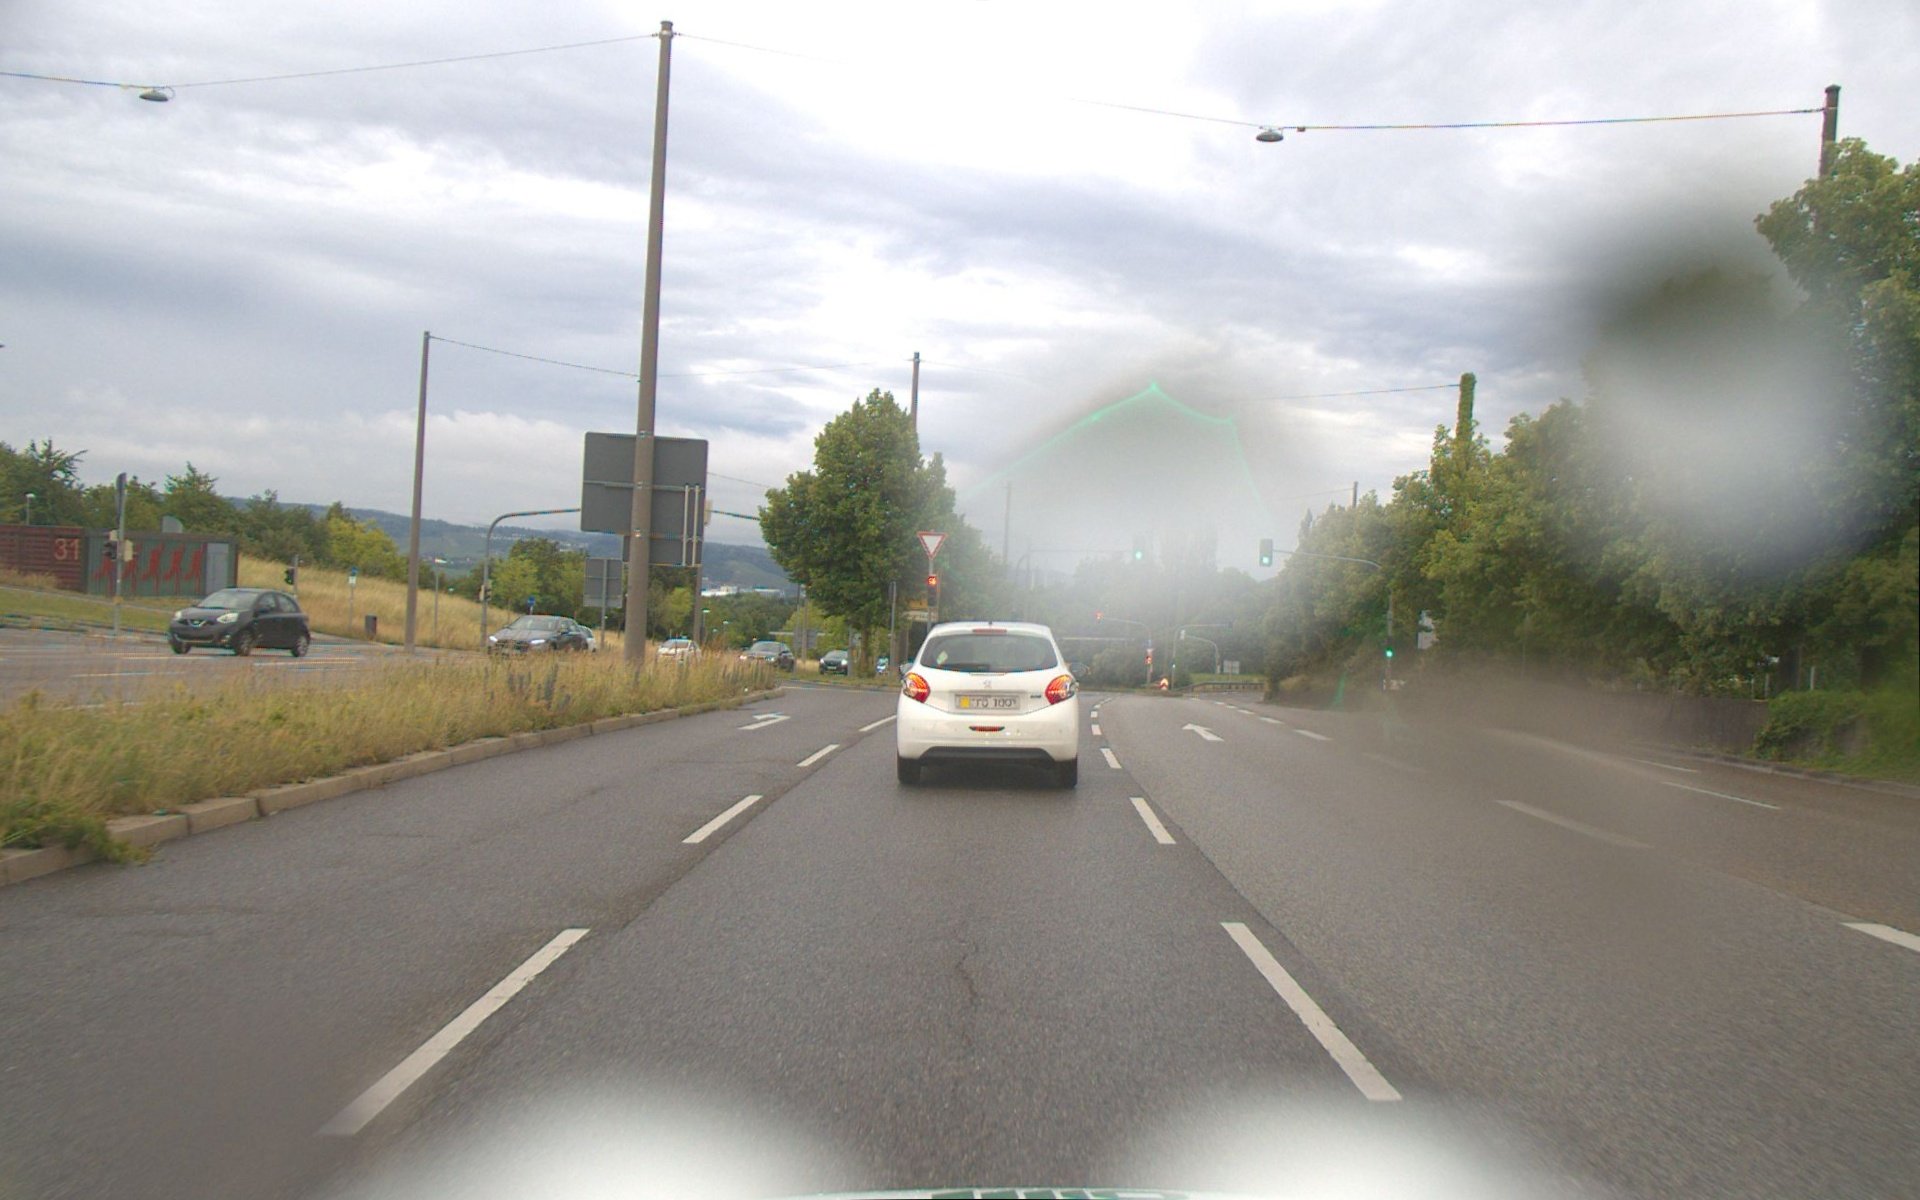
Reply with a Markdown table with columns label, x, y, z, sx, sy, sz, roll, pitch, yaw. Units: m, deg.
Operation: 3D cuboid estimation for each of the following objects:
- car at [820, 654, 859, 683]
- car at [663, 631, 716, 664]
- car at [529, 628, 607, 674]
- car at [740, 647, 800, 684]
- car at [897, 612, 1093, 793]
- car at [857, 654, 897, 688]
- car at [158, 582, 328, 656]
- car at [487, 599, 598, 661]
| label | x | y | z | sx | sy | sz | roll | pitch | yaw |
| --- | --- | --- | --- | --- | --- | --- | --- | --- | --- |
| car | -6.952 | 3.969 | 95.588 | 1.506 | 1.530 | 3.664 | 3 | -3 | 6 |
| car | -13.790 | 2.442 | 84.562 | 1.616 | 1.488 | 3.776 | 3 | -3 | 6 |
| car | -16.042 | 2.132 | 67.839 | 1.730 | 1.677 | 4.179 | 3 | -3 | 6 |
| car | -8.692 | 3.017 | 75.866 | 1.714 | 1.530 | 4.466 | 3 | -3 | 6 |
| car | 0.319 | 0.901 | 16.199 | 1.673 | 1.465 | 3.691 | 1 | 1 | 0 |
| car | -5.563 | 4.749 | 110.890 | 1.848 | 2.048 | 3.933 | 3 | 0 | 8 |
| car | -16.297 | 0.476 | 37.828 | 1.730 | 1.408 | 4.002 | 3 | -3 | 6 |
| car | -11.927 | 0.899 | 47.489 | 1.730 | 1.545 | 4.002 | 3 | -3 | 6 |
